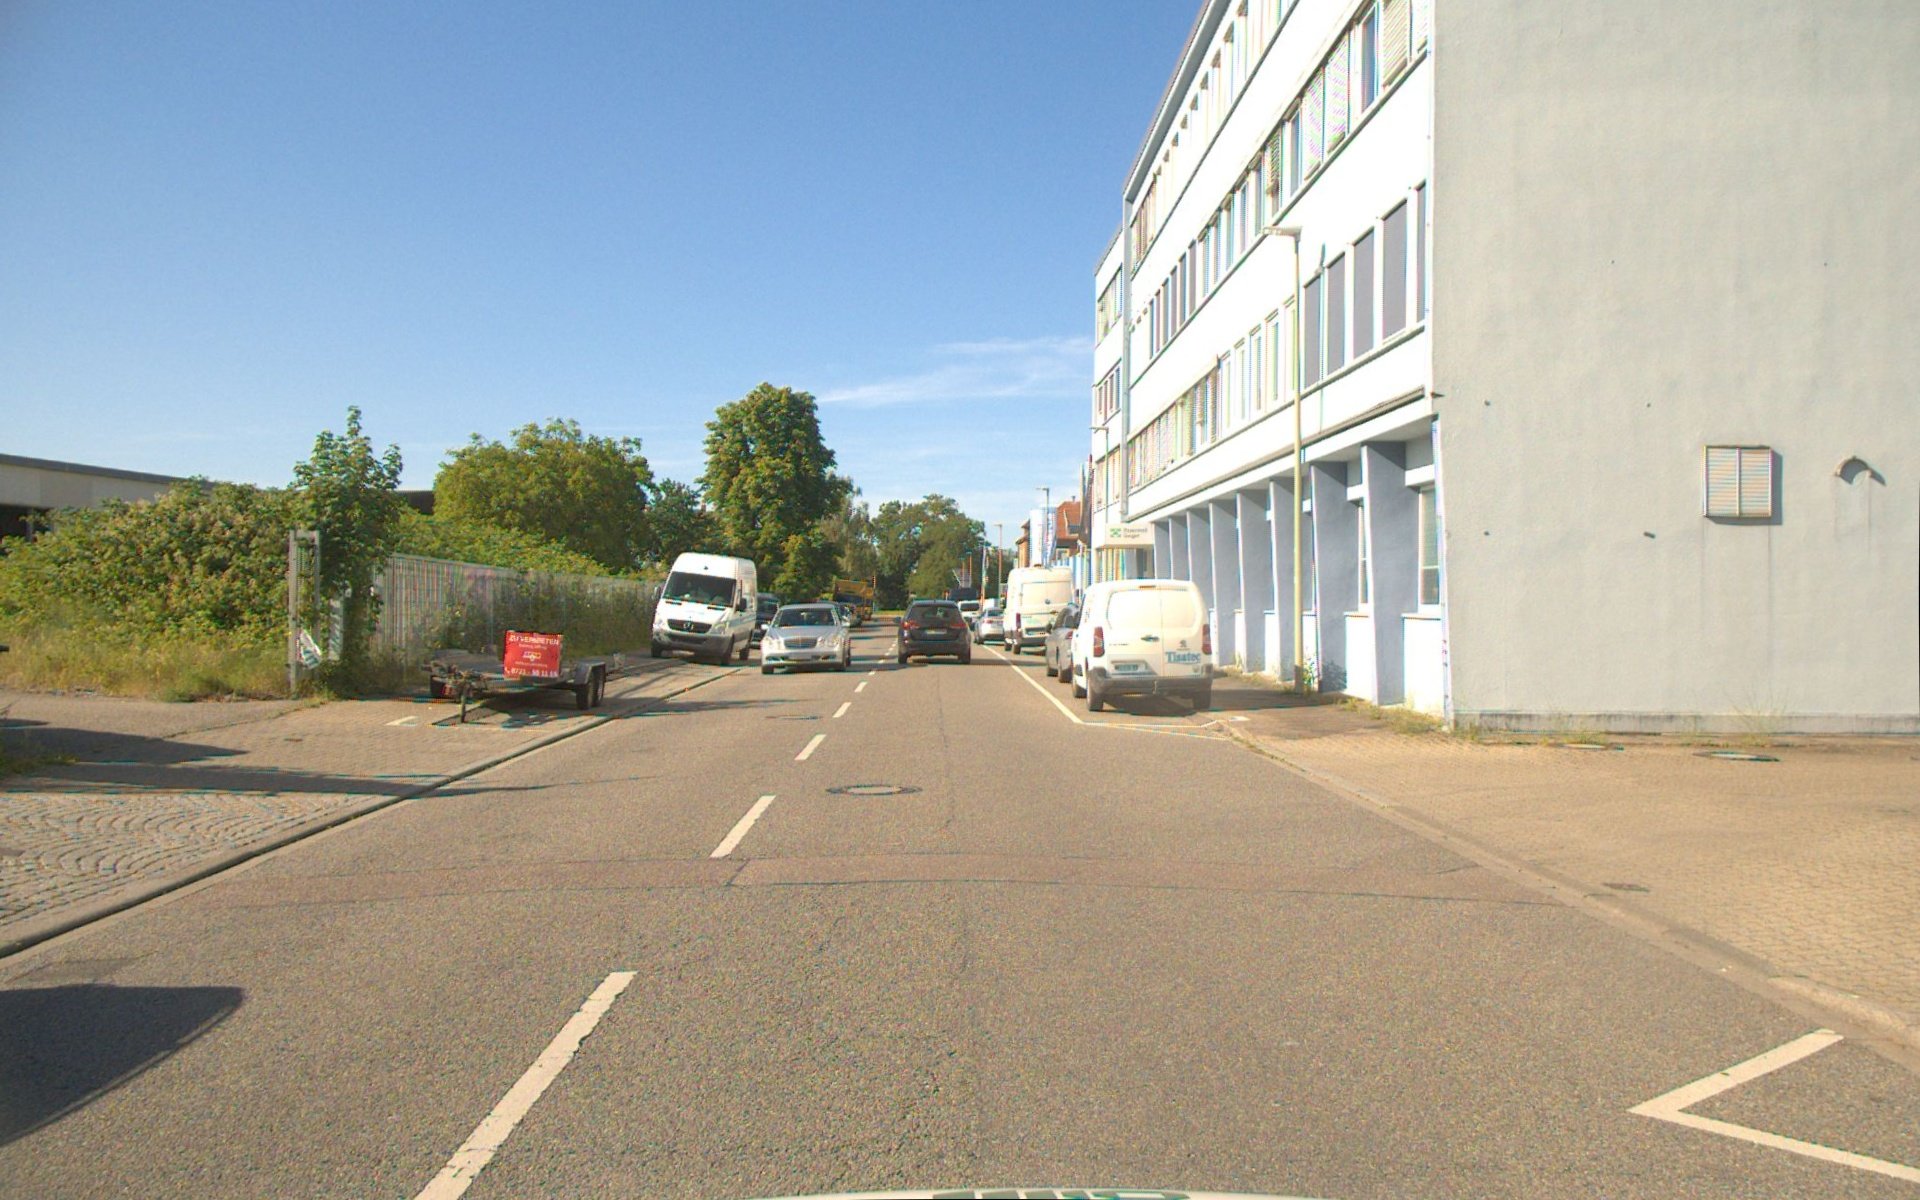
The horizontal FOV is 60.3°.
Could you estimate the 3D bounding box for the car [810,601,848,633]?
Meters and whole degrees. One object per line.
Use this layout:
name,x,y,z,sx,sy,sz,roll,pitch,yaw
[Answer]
car,-7.411,0.941,94.037,1.755,1.761,4.802,0,0,0

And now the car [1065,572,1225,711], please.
car,2.688,0.589,25.160,1.850,1.864,5.090,1,0,0

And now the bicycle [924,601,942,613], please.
bicycle,-2.980,0.769,184.157,0.798,1.290,2.226,3,-1,-40

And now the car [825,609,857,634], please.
car,-8.510,1.535,118.776,1.870,1.620,5.024,5,-1,-1

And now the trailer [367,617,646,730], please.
trailer,-6.172,0.942,23.471,2.328,1.098,6.243,4,0,-2

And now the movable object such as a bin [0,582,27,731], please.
movable object such as a bin,-10.022,0.528,15.914,1.587,1.430,1.094,1,-1,27

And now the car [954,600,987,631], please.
car,0.648,1.014,106.868,1.848,1.829,5.101,2,-1,-2

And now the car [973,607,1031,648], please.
car,1.560,1.043,62.533,1.856,1.430,5.122,2,-1,-2

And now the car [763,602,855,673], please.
car,-3.297,0.786,36.816,1.711,1.473,4.359,1,0,-1

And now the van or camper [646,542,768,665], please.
van or camper,-6.381,0.097,42.404,1.926,2.731,5.947,5,0,0

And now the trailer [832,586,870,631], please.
trailer,-8.909,0.719,135.613,2.931,3.503,8.156,1,-1,-3

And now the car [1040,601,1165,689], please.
car,2.739,0.847,32.870,1.851,1.588,5.088,1,0,-2

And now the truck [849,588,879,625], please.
truck,-10.392,0.645,179.172,2.580,3.564,8.655,6,0,-1

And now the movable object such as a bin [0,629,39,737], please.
movable object such as a bin,-9.016,0.755,15.179,0.602,0.989,0.749,0,-2,23

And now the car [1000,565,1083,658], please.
car,2.450,0.295,51.042,1.954,2.643,6.048,-1,1,-3

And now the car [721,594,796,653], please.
car,-6.673,0.767,55.321,1.990,1.723,5.104,5,0,-3

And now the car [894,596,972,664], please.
car,-0.645,0.706,40.310,1.809,1.557,3.999,0,0,-1
